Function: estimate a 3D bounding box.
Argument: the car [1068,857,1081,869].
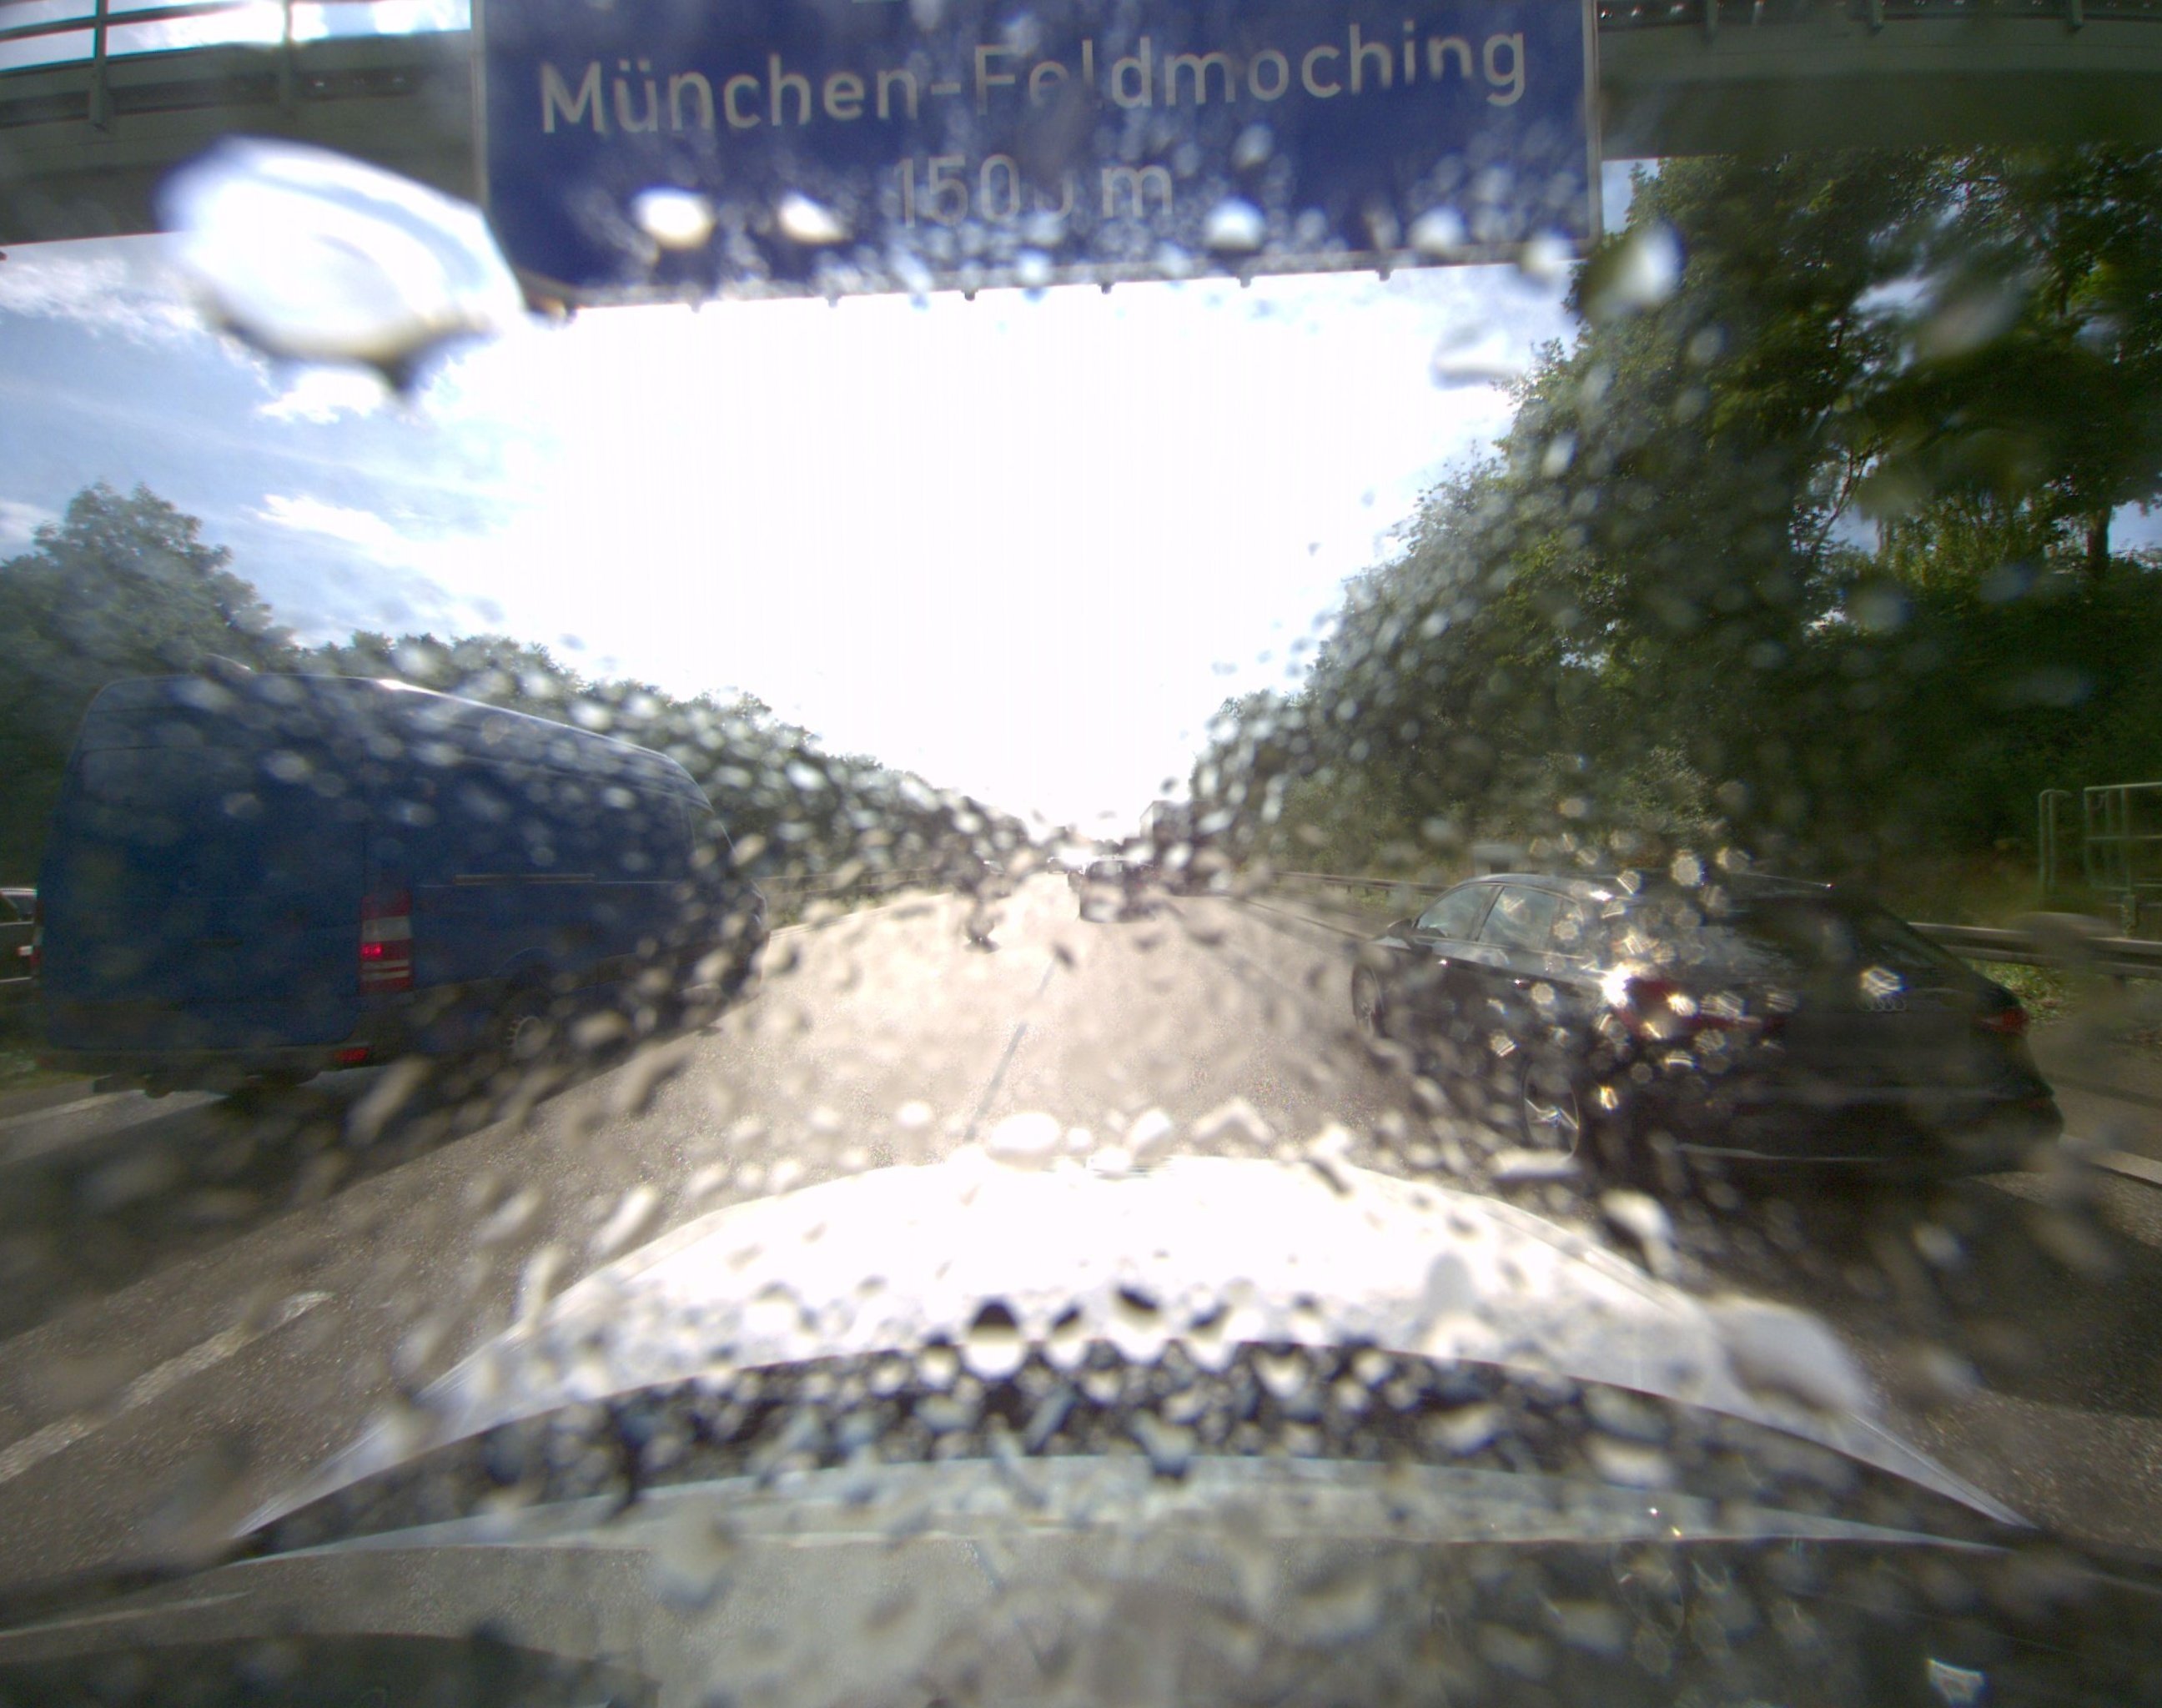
[{"bbox_3d":[-0.871,1.240,116.073,1.669,1.597,3.437,-1,0,1],"label":"car"}]

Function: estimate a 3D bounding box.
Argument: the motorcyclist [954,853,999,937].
[{"bbox_3d":[-1.848,0.708,14.458,0.668,1.442,1.019,-1,-1,-1],"label":"motorcyclist"}]

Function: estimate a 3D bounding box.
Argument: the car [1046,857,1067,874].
[{"bbox_3d":[-2.456,1.164,83.070,1.886,1.628,4.196,-1,0,1],"label":"car"}]

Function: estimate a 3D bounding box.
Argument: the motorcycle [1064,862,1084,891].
[{"bbox_3d":[-0.307,1.011,37.061,0.816,1.263,2.119,-1,0,2],"label":"motorcycle"}]

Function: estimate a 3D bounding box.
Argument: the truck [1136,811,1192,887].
[{"bbox_3d":[4.929,-0.269,49.365,3.040,4.325,5.889,-1,-1,2],"label":"truck"}]

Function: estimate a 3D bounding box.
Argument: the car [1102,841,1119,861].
[{"bbox_3d":[2.909,-0.279,80.995,1.669,1.936,3.774,-1,0,1],"label":"car"}]

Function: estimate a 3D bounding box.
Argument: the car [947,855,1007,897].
[{"bbox_3d":[-4.156,0.862,33.269,1.752,1.595,4.332,-1,0,1],"label":"car"}]

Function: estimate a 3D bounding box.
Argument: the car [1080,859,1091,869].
[{"bbox_3d":[0.935,2.165,169.009,1.986,2.014,4.001,-1,-1,1],"label":"car"}]

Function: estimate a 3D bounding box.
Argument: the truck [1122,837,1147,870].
[{"bbox_3d":[7.308,-0.048,112.305,3.189,4.404,9.437,-1,-1,2],"label":"truck"}]

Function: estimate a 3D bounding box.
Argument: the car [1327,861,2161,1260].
[{"bbox_3d":[3.029,0.760,5.106,1.748,1.396,4.369,-1,0,2],"label":"car"}]

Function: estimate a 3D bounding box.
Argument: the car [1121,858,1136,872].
[{"bbox_3d":[5.516,1.283,95.429,1.669,1.490,3.437,-1,0,1],"label":"car"}]

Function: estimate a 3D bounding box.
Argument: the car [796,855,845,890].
[{"bbox_3d":[-16.826,1.148,52.801,1.826,2.013,4.000,-1,2,0],"label":"car"}]

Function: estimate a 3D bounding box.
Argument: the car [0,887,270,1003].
[{"bbox_3d":[-14.076,1.208,11.152,1.838,1.296,4.001,-2,0,1],"label":"car"}]

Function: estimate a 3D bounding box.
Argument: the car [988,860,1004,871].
[{"bbox_3d":[-13.304,1.805,127.539,1.915,1.580,4.001,-2,0,1],"label":"car"}]

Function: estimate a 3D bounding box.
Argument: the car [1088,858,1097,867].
[{"bbox_3d":[2.614,2.076,189.939,1.986,2.014,4.001,-1,-1,1],"label":"car"}]

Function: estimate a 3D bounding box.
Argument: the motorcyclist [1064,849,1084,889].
[{"bbox_3d":[-0.316,0.683,36.992,0.818,1.761,1.391,-1,-1,2],"label":"motorcyclist"}]

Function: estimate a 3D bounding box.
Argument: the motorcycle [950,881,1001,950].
[{"bbox_3d":[-1.843,1.046,14.492,0.674,1.087,1.981,0,0,-1],"label":"motorcycle"}]

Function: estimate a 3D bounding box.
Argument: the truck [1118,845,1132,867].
[{"bbox_3d":[9.870,0.537,184.244,2.871,4.688,12.663,-1,-1,2],"label":"truck"}]

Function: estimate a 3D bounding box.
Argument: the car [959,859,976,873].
[{"bbox_3d":[-17.629,1.851,127.029,1.986,2.013,4.001,0,0,1],"label":"car"}]

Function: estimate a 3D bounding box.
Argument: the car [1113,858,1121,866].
[{"bbox_3d":[9.858,2.192,223.330,1.986,2.014,4.001,-1,-1,1],"label":"car"}]

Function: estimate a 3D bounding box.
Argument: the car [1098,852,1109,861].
[{"bbox_3d":[3.576,0.383,130.484,1.626,1.490,3.437,-1,0,1],"label":"car"}]

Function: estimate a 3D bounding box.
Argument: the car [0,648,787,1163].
[{"bbox_3d":[-4.673,0.277,7.130,2.009,2.648,5.777,-1,0,1],"label":"car"}]

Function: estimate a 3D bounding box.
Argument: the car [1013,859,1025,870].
[{"bbox_3d":[-12.172,2.072,160.244,1.917,1.911,4.291,-2,0,2],"label":"car"}]

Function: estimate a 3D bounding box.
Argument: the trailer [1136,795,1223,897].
[{"bbox_3d":[4.697,-0.311,41.956,3.077,4.312,14.109,-1,0,2],"label":"trailer"}]

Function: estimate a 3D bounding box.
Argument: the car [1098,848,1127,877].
[{"bbox_3d":[2.291,0.640,59.944,1.986,2.014,4.001,-1,-1,1],"label":"car"}]

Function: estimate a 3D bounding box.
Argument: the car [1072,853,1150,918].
[{"bbox_3d":[0.801,0.800,22.189,1.908,1.565,4.315,-1,0,1],"label":"car"}]
